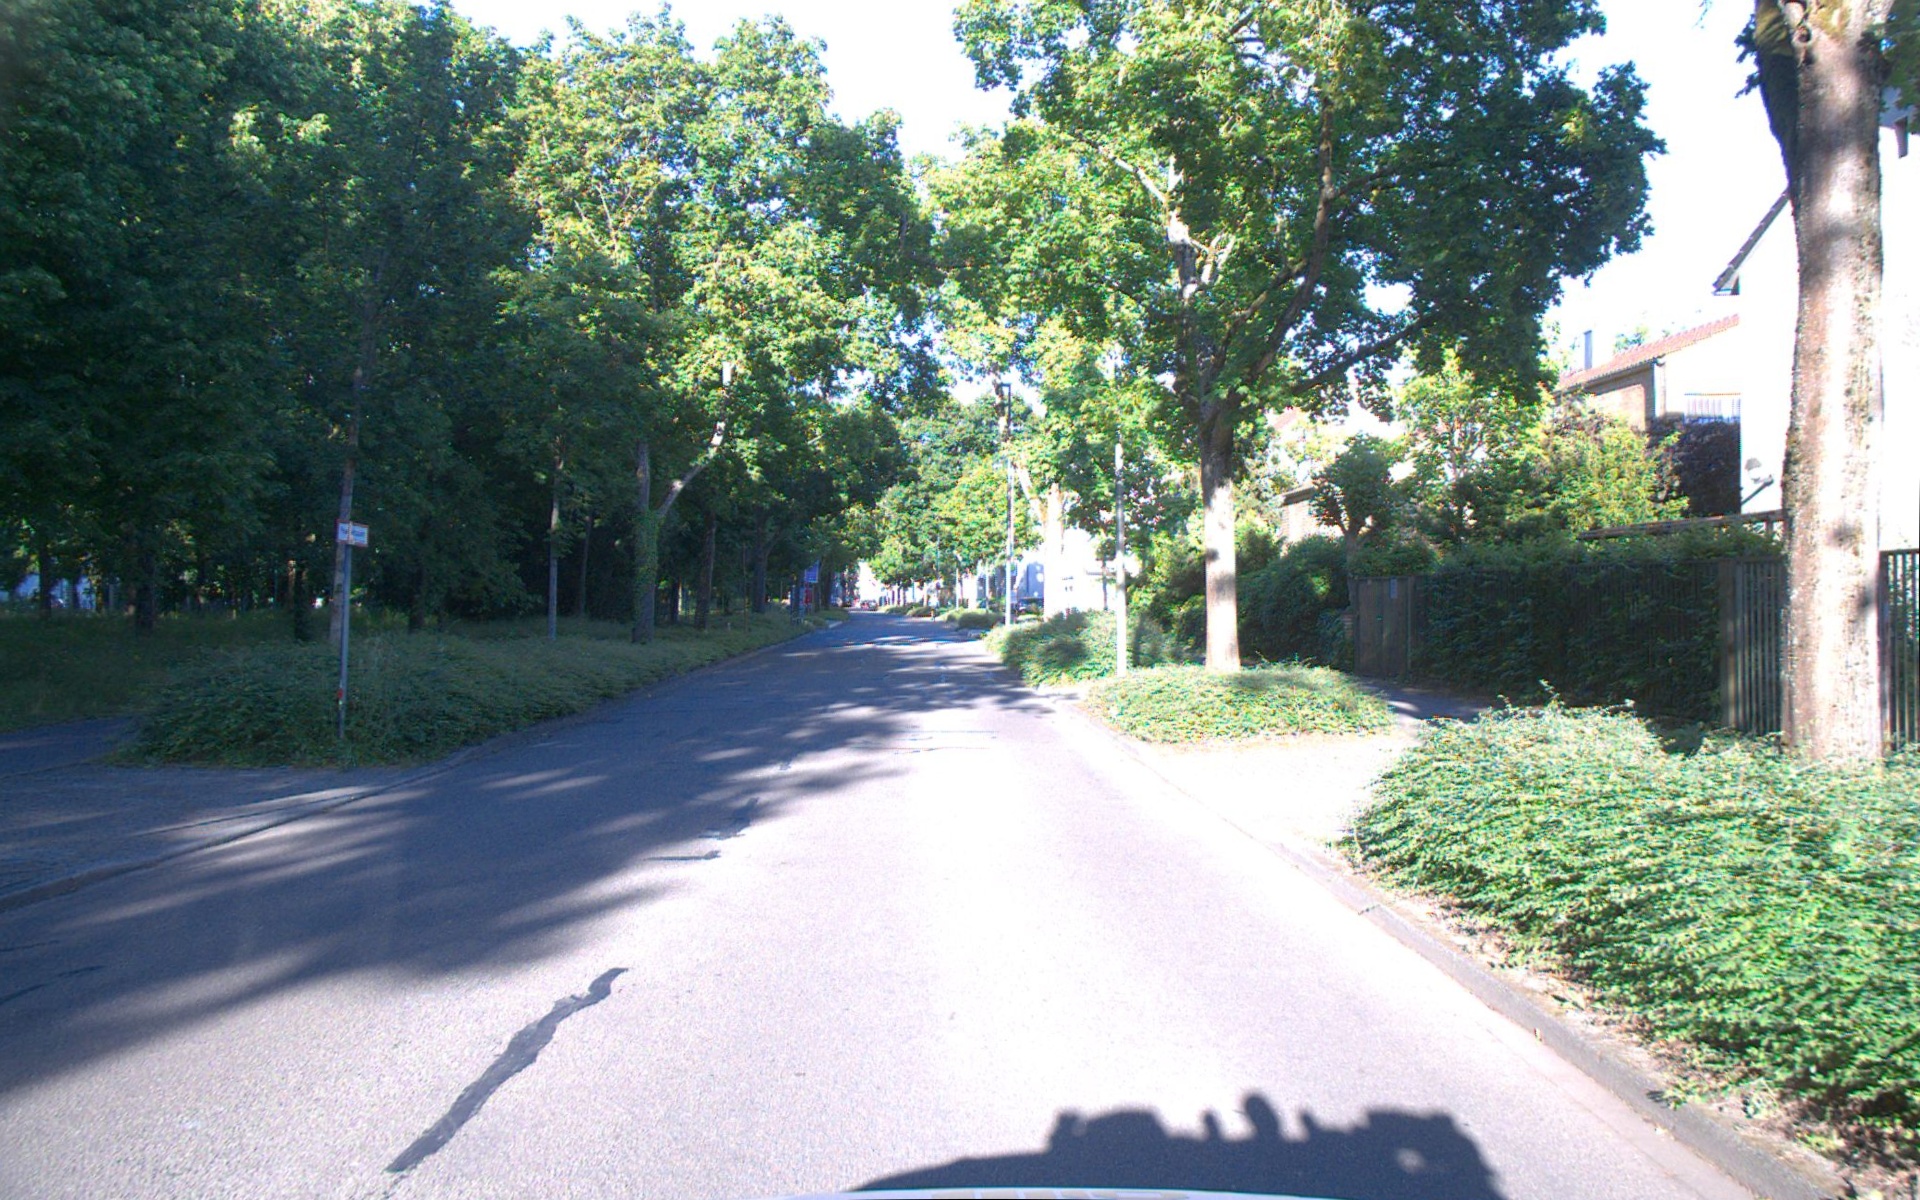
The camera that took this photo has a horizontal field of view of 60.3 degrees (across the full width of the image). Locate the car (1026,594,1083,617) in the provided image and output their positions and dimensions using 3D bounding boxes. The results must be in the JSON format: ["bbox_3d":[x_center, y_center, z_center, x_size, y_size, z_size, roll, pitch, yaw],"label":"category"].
[{"bbox_3d":[7.271,0.402,127.248,4.259,1.377,2.145,4,4,4],"label":"car"}]

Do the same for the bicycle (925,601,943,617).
[{"bbox_3d":[-1.768,0.616,112.411,0.431,0.995,1.657,1,2,32],"label":"bicycle"}]

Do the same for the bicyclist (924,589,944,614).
[{"bbox_3d":[-1.752,0.074,112.347,0.851,1.669,1.112,2,1,32],"label":"bicyclist"}]
